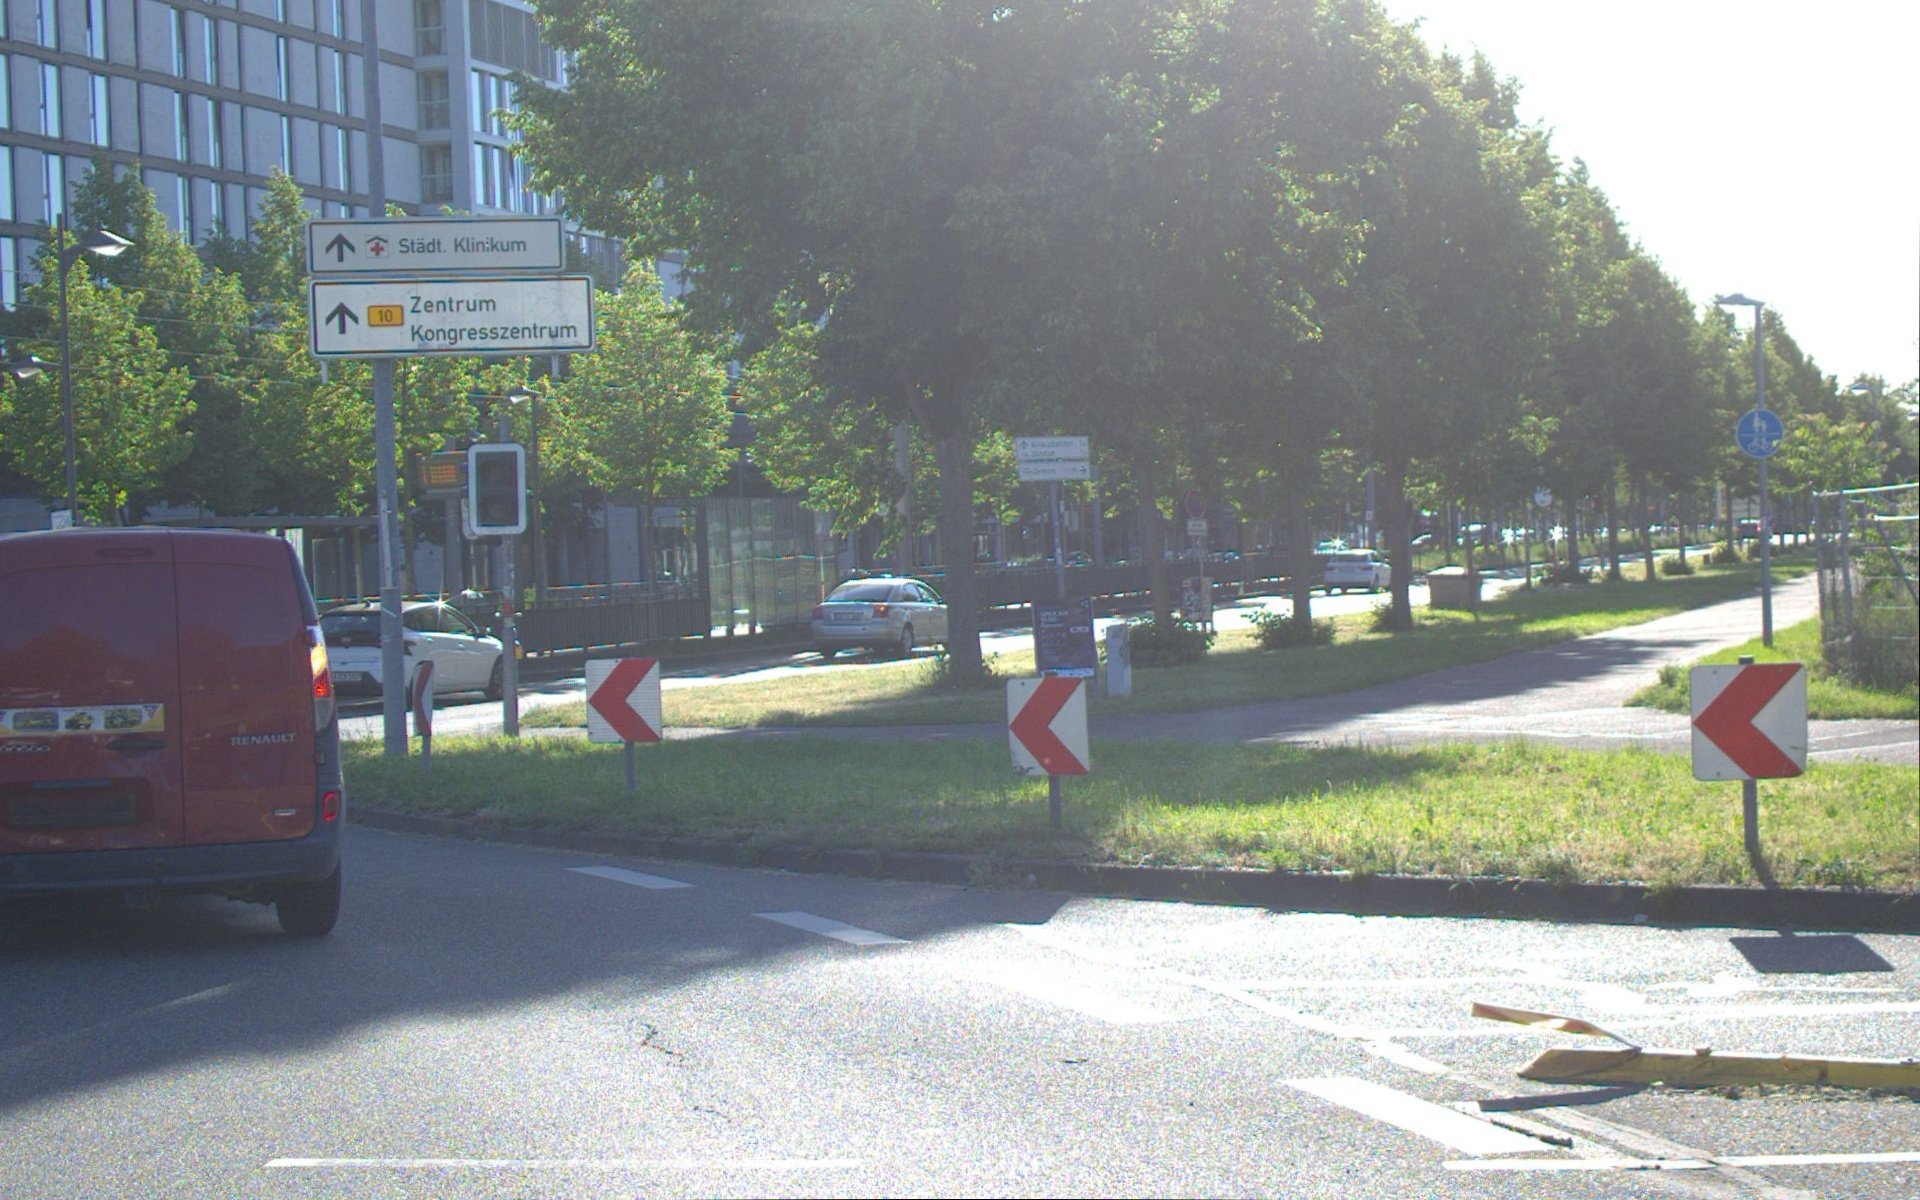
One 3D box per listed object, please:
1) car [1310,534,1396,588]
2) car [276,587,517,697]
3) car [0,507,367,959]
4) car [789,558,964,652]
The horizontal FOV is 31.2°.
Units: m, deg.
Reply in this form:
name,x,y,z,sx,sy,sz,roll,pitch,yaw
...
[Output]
name,x,y,z,sx,sy,sz,roll,pitch,yaw
car,12.970,-1.307,113.331,1.995,1.569,4.405,-2,2,17
car,-7.842,0.549,48.139,1.804,1.456,3.806,0,0,18
car,-4.022,0.548,15.711,1.802,1.807,3.810,0,-1,-22
car,-1.574,0.072,66.381,1.995,1.569,4.405,-2,2,18
